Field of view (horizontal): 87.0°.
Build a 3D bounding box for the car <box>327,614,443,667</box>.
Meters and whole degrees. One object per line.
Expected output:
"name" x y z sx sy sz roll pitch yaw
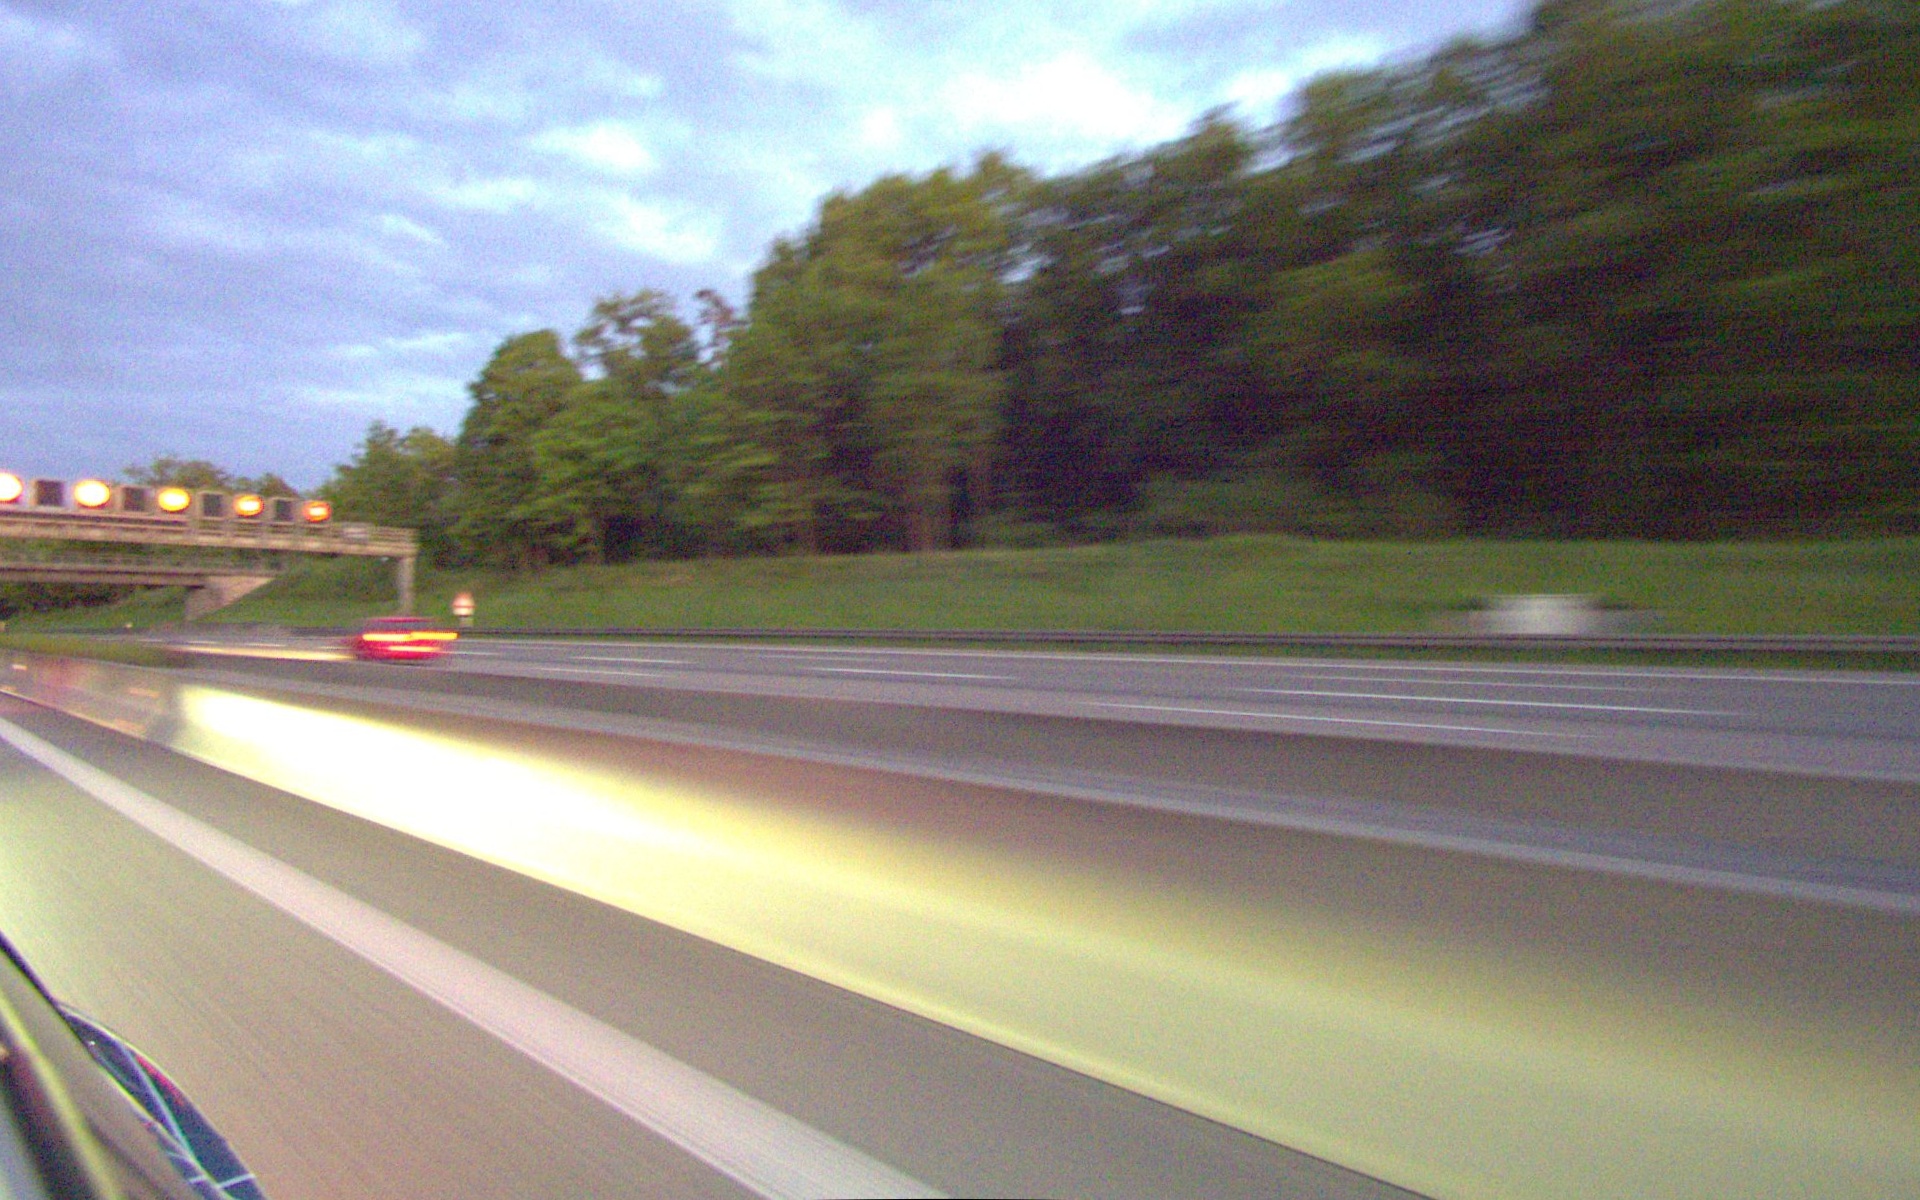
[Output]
"car" -16.822 1.130 29.533 4.312 1.416 1.602 -1 -1 41
